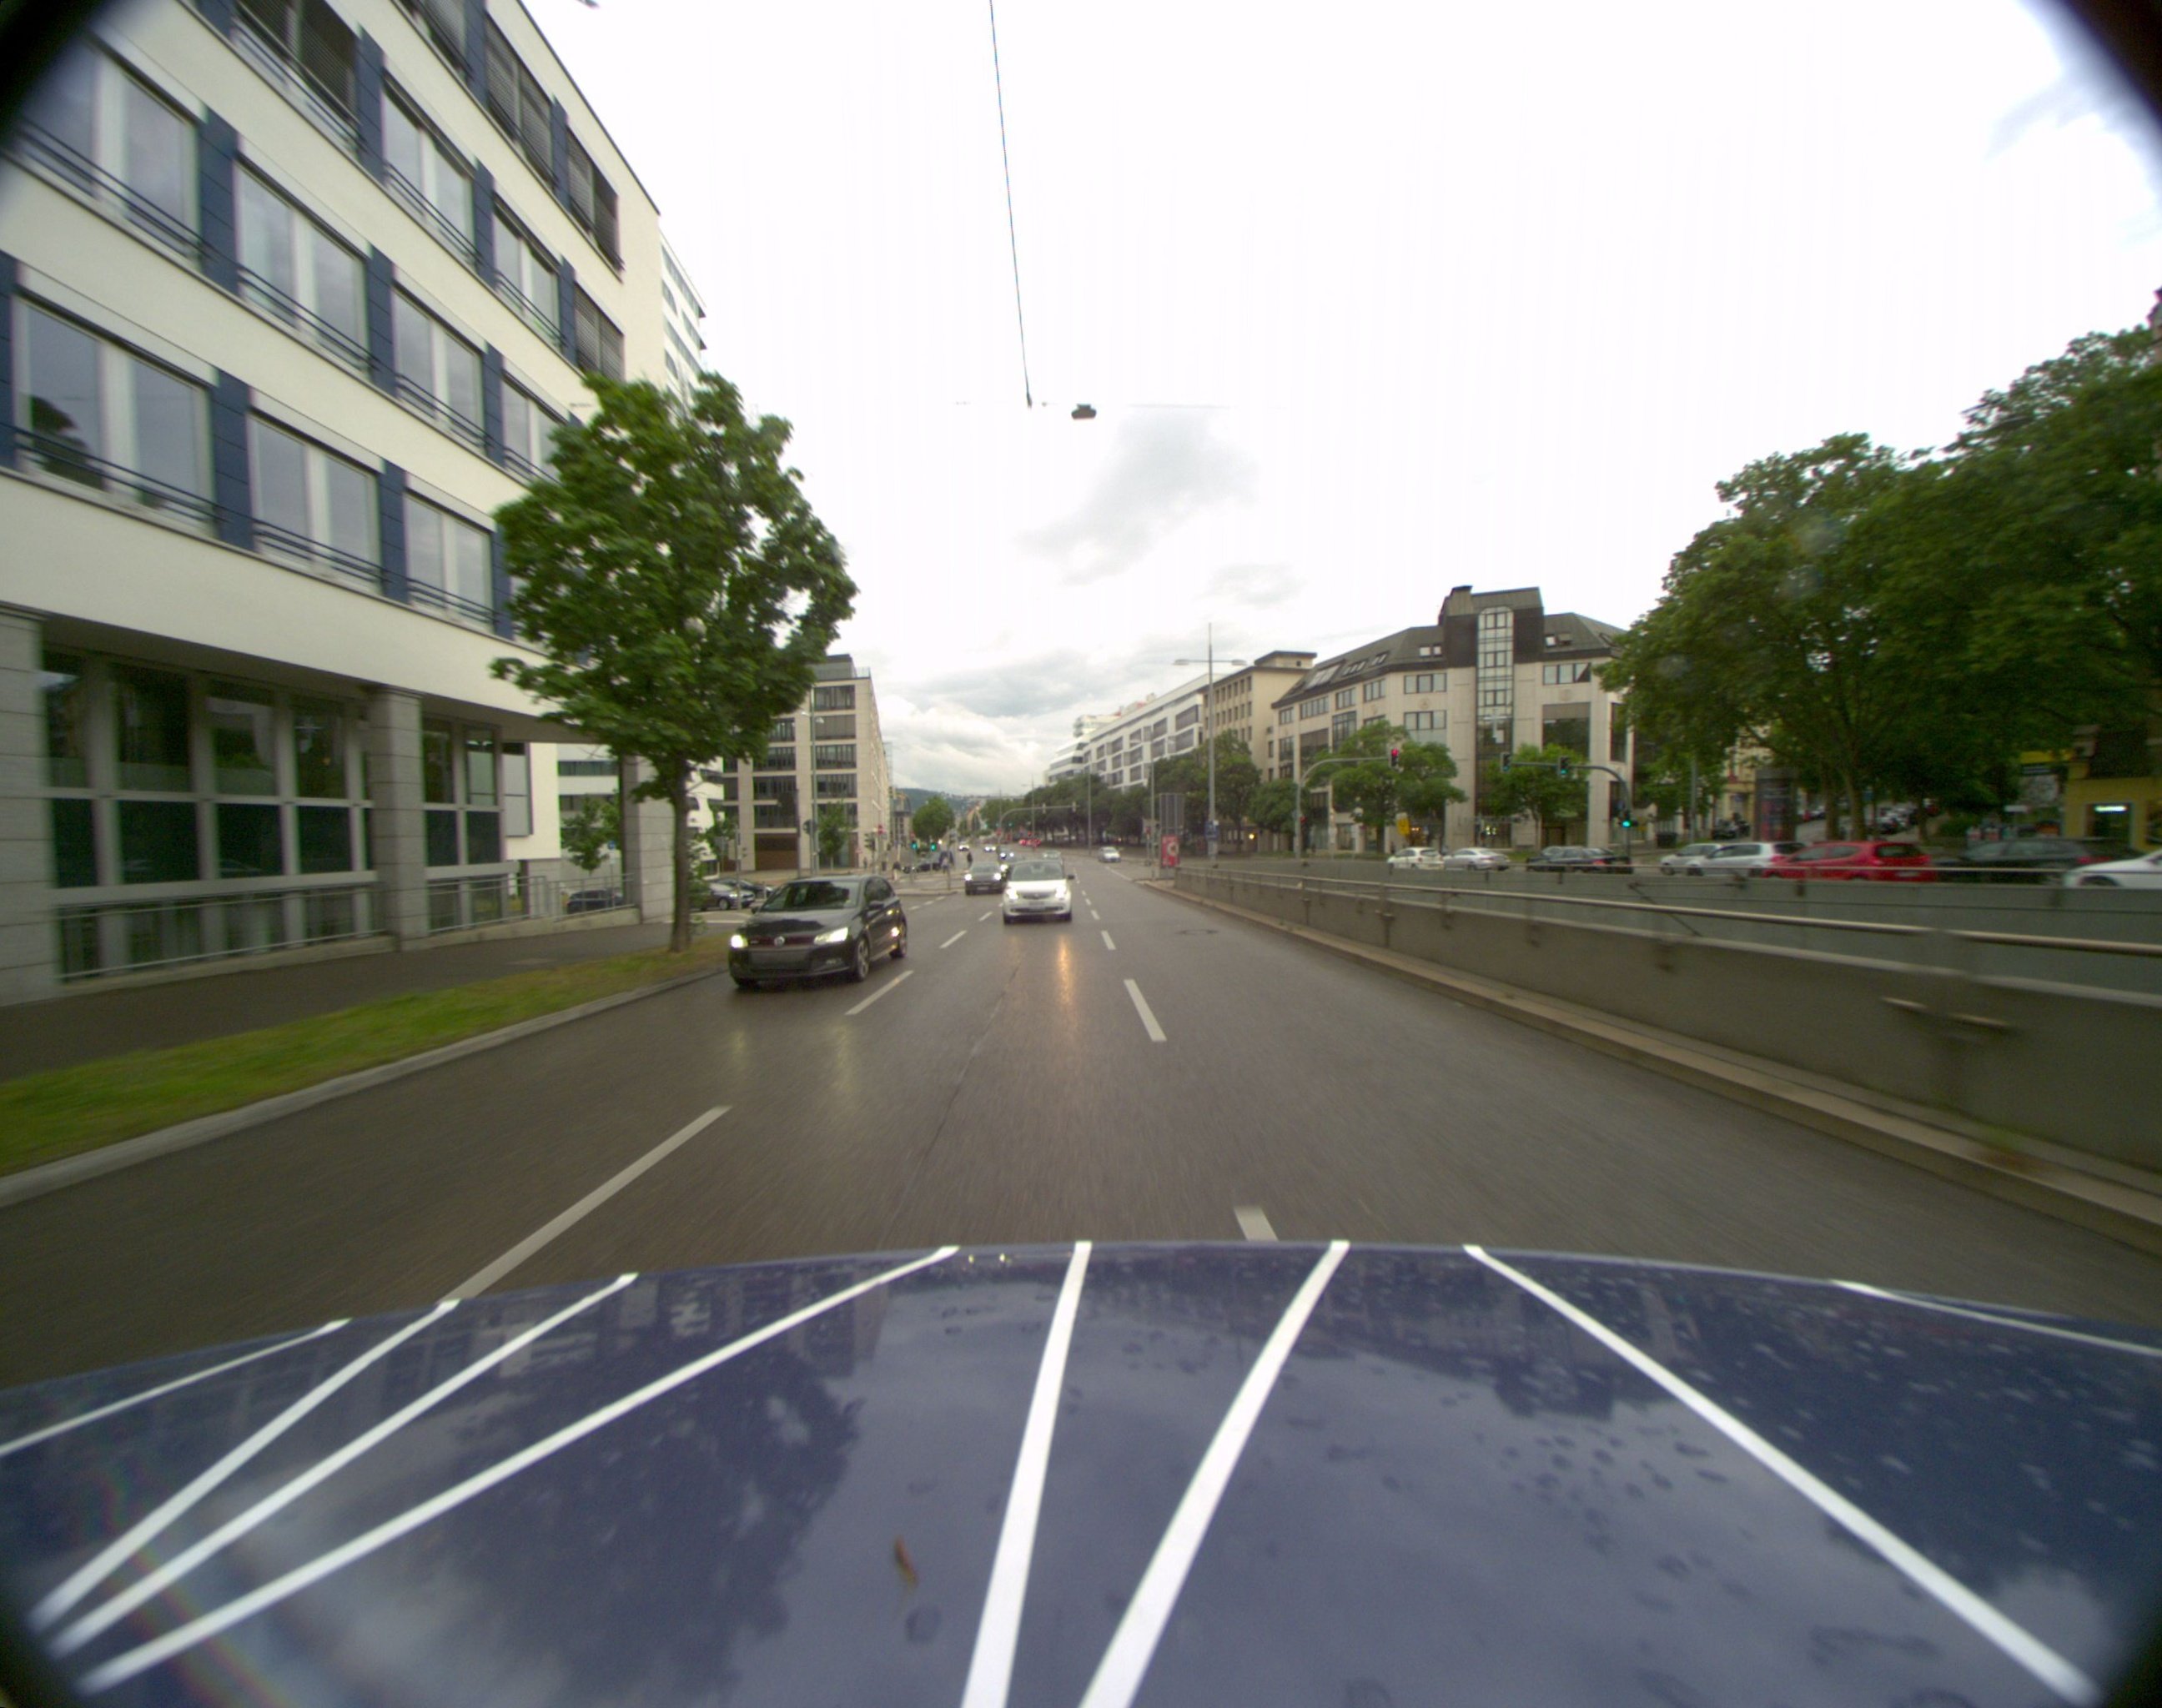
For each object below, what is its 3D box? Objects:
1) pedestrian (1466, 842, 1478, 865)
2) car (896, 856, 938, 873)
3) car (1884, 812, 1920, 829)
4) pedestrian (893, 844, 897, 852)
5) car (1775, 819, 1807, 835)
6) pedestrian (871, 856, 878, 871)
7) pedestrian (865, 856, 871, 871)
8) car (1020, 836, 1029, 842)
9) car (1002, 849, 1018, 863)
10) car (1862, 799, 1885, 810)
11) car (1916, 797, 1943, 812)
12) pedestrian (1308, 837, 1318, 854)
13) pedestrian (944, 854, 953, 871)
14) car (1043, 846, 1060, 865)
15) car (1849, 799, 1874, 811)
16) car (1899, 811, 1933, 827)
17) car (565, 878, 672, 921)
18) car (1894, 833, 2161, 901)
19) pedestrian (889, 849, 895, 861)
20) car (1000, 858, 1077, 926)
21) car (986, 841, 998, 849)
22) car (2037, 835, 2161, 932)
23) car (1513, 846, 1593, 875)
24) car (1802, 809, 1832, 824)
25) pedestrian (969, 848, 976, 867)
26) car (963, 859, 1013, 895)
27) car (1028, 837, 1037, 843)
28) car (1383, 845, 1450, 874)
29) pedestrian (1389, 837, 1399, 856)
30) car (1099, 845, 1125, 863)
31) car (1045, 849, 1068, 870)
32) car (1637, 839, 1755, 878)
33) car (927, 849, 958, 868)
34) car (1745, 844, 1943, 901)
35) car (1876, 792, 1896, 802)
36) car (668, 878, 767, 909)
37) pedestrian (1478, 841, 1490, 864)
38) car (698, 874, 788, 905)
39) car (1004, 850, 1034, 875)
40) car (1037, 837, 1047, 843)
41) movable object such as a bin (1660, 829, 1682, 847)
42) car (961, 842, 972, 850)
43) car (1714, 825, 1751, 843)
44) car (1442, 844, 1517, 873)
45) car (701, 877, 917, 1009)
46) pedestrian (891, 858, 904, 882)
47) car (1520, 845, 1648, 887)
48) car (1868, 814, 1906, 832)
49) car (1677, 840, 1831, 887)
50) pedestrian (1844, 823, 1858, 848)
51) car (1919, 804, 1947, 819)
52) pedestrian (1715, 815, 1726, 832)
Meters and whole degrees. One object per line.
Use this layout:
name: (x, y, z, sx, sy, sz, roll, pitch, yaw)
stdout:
pedestrian: (31.084, -0.046, 60.468, 0.590, 1.799, 0.674, -2, 2, 6)
car: (-16.271, 1.017, 75.565, 1.795, 1.502, 4.006, -2, 1, 28)
car: (75.668, -3.073, 70.018, 3.497, 1.454, 1.606, -3, 2, -32)
pedestrian: (-33.031, -1.090, 134.660, 0.588, 1.469, 0.603, -3, 2, -13)
car: (76.654, -2.949, 82.046, 4.006, 1.502, 1.795, -3, 1, -36)
pedestrian: (-22.513, 1.034, 82.906, 0.588, 1.600, 0.603, -3, 2, -15)
pedestrian: (-23.248, 1.079, 82.925, 0.588, 1.600, 0.603, -3, 2, -15)
car: (-16.423, -4.272, 220.578, 1.801, 1.502, 3.995, -3, 1, -13)
car: (-10.333, 0.280, 110.004, 1.800, 1.934, 3.995, -3, 1, -11)
car: (116.896, -7.323, 112.120, 4.006, 1.502, 1.795, -3, 1, -36)
car: (95.708, -5.582, 85.691, 3.498, 1.454, 1.606, -3, 2, -35)
pedestrian: (25.384, -0.900, 83.108, 0.835, 1.774, 0.615, -3, 2, -8)
pedestrian: (-11.594, 0.757, 66.274, 0.588, 1.469, 0.603, -3, 2, -22)
car: (-3.252, 0.167, 84.650, 1.799, 2.021, 3.999, -3, 1, -1)
car: (104.743, -6.594, 101.984, 4.006, 1.502, 1.795, -3, 1, -36)
car: (81.733, -3.425, 74.350, 3.497, 1.454, 1.606, -3, 2, -32)
car: (-25.032, 2.449, 41.208, 4.482, 1.660, 1.854, -4, 7, 1)
car: (23.959, 0.317, 19.499, 1.799, 1.501, 3.999, -2, 0, -3)
pedestrian: (-24.392, 0.162, 97.918, 0.588, 1.469, 0.603, -3, 2, -22)
car: (-1.023, 0.918, 19.983, 1.799, 1.528, 3.999, -1, 0, 0)
car: (-17.981, -1.729, 153.333, 1.801, 1.502, 3.995, -3, 1, -13)
car: (20.917, 0.552, 13.565, 1.798, 1.760, 4.731, -2, 1, 1)
car: (26.137, 0.313, 42.248, 1.799, 1.501, 3.998, 0, 1, -4)
car: (85.617, -4.389, 88.373, 4.006, 1.502, 1.795, -3, 1, -36)
pedestrian: (-10.790, 0.338, 75.696, 0.604, 1.792, 0.587, -3, 2, -9)
car: (-4.319, 1.030, 35.706, 1.751, 1.433, 3.706, -3, 1, 1)
car: (-13.148, -3.750, 205.843, 1.801, 1.502, 3.995, -3, 1, -13)
car: (19.420, 0.287, 44.121, 1.800, 1.552, 3.997, -2, 1, -6)
pedestrian: (29.243, -0.708, 71.017, 0.604, 1.774, 0.525, -3, 2, -8)
car: (3.358, -0.008, 82.601, 1.801, 1.733, 3.995, -3, 1, -13)
car: (-2.154, 0.467, 67.018, 1.799, 1.657, 3.999, -3, 1, 1)
car: (26.577, 0.160, 33.011, 1.799, 1.502, 3.941, -3, 1, -3)
car: (-15.347, 0.467, 84.388, 1.797, 1.851, 4.295, -2, 1, 13)
car: (20.960, 0.438, 21.118, 1.588, 1.393, 3.880, -2, 1, 0)
car: (133.848, -9.462, 126.333, 4.006, 1.502, 1.795, -3, 1, -36)
car: (-18.971, 2.064, 39.692, 4.477, 1.382, 1.858, -2, 1, 15)
pedestrian: (31.981, -0.094, 60.238, 0.590, 1.799, 0.674, -2, 2, 6)
car: (-20.436, 2.117, 46.103, 4.483, 1.383, 1.855, -5, 2, -3)
car: (-4.550, 0.632, 56.171, 1.799, 1.657, 3.999, -3, 1, 1)
car: (-10.171, -3.630, 199.306, 1.801, 1.502, 3.995, -3, 1, -13)
movable object such as a bin: (50.702, -1.351, 65.299, 1.352, 1.499, 1.071, -2, 1, 28)
car: (-24.721, -1.763, 163.929, 1.800, 1.502, 3.995, -3, 1, -13)
car: (62.249, -1.897, 72.611, 4.006, 1.502, 1.795, -3, 1, -36)
car: (22.553, 0.238, 43.187, 1.800, 1.501, 3.997, -2, 1, -7)
car: (-3.696, 1.129, 11.091, 1.678, 1.391, 3.848, -2, 1, 1)
pedestrian: (-13.149, 1.138, 54.509, 0.707, 1.615, 0.644, -3, 2, 1)
car: (20.280, 0.425, 30.937, 1.799, 1.548, 4.833, -2, 1, -3)
car: (70.840, -2.740, 66.789, 3.497, 1.454, 1.606, -3, 2, -32)
car: (23.718, 0.321, 26.993, 1.799, 1.501, 3.999, -2, 0, -3)
pedestrian: (55.807, -1.343, 55.054, 0.632, 1.799, 0.675, -1, 2, 41)
car: (90.643, -4.526, 80.818, 3.498, 1.454, 1.606, -3, 2, -35)
pedestrian: (64.078, -3.064, 76.161, 0.651, 1.652, 0.649, -3, 2, -27)
